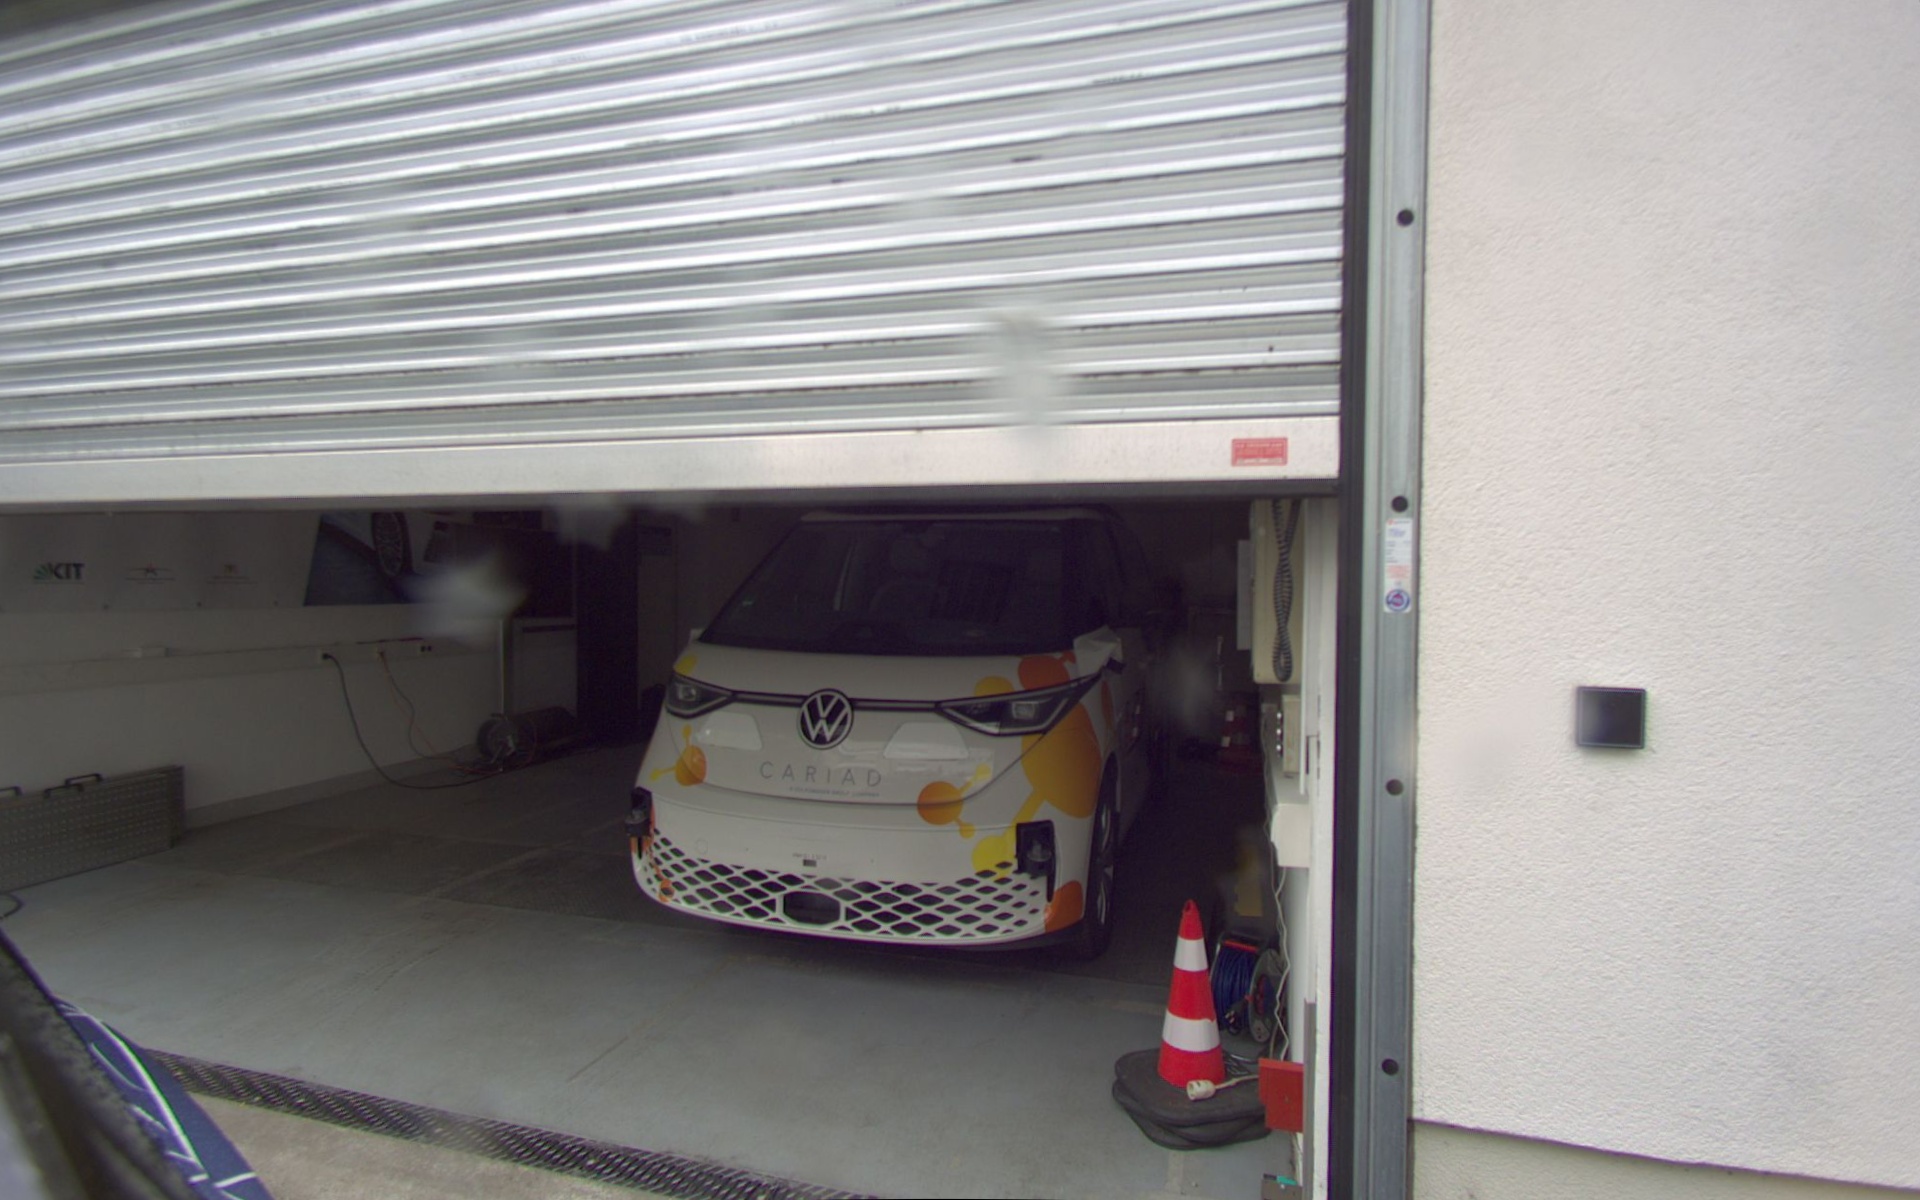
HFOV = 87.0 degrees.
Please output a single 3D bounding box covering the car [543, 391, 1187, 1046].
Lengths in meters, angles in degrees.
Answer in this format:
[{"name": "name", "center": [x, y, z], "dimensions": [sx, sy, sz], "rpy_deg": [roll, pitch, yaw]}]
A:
[{"name": "car", "center": [0.090, 0.294, 5.673], "dimensions": [2.066, 2.028, 4.682], "rpy_deg": [1, 2, 16]}]
